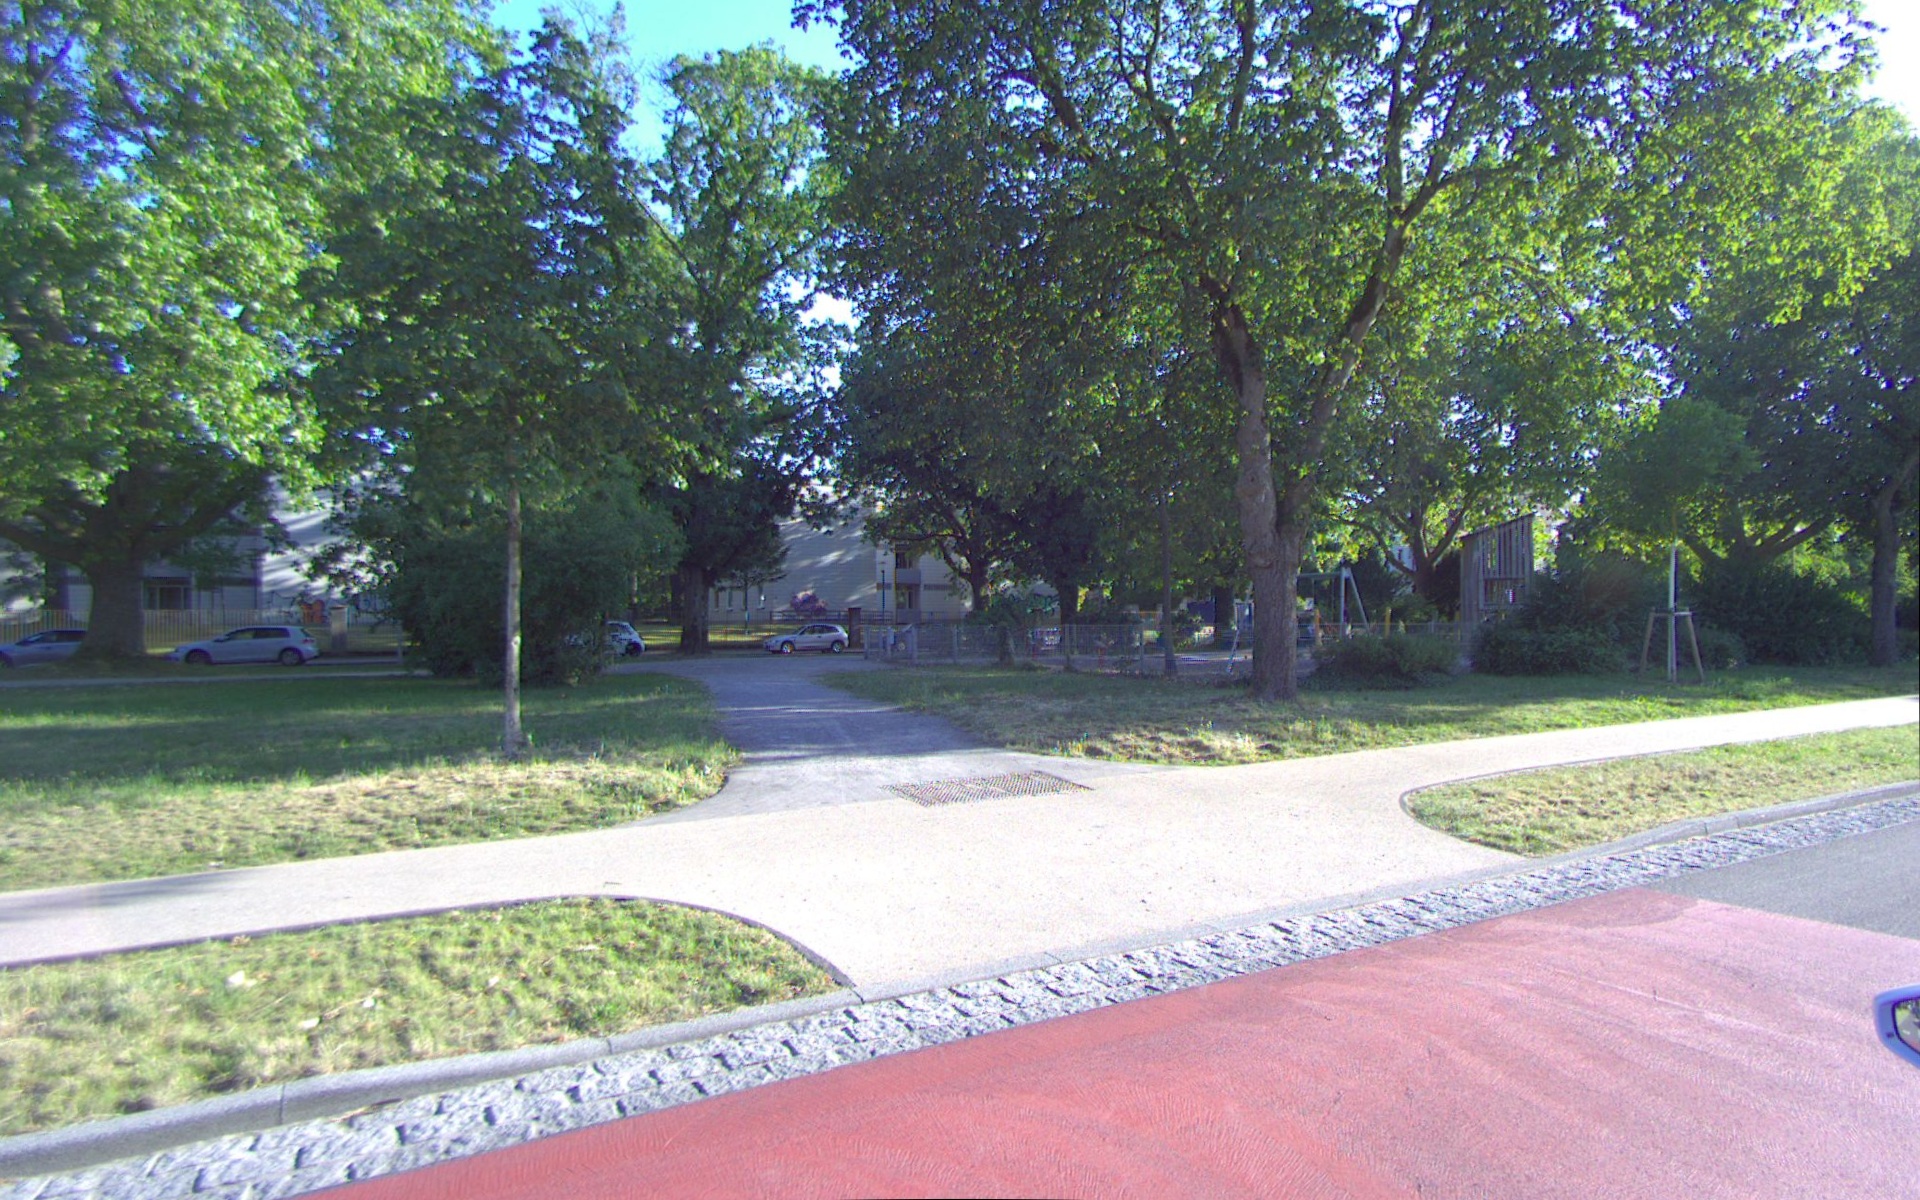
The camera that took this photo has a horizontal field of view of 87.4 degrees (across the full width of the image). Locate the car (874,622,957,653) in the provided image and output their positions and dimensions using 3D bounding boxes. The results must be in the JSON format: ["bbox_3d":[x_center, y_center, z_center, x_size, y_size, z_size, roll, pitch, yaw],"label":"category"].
[{"bbox_3d":[-2.138,1.772,48.376,3.705,1.386,1.516,0,0,-28],"label":"car"}]

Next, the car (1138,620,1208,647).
[{"bbox_3d":[11.851,1.832,55.814,3.705,1.386,1.516,0,0,-28],"label":"car"}]

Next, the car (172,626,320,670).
[{"bbox_3d":[-24.898,1.639,35.187,4.059,1.386,1.515,0,0,-30],"label":"car"}]

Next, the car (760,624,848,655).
[{"bbox_3d":[-7.097,1.755,45.742,3.705,1.309,1.516,0,0,-28],"label":"car"}]

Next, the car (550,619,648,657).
[{"bbox_3d":[-14.767,1.520,41.053,3.616,1.483,1.594,0,0,-27],"label":"car"}]

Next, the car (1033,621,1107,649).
[{"bbox_3d":[5.863,1.850,53.405,3.705,1.386,1.516,0,0,-28],"label":"car"}]

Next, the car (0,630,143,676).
[{"bbox_3d":[-29.308,1.715,32.874,3.747,1.386,1.515,0,0,-30],"label":"car"}]
